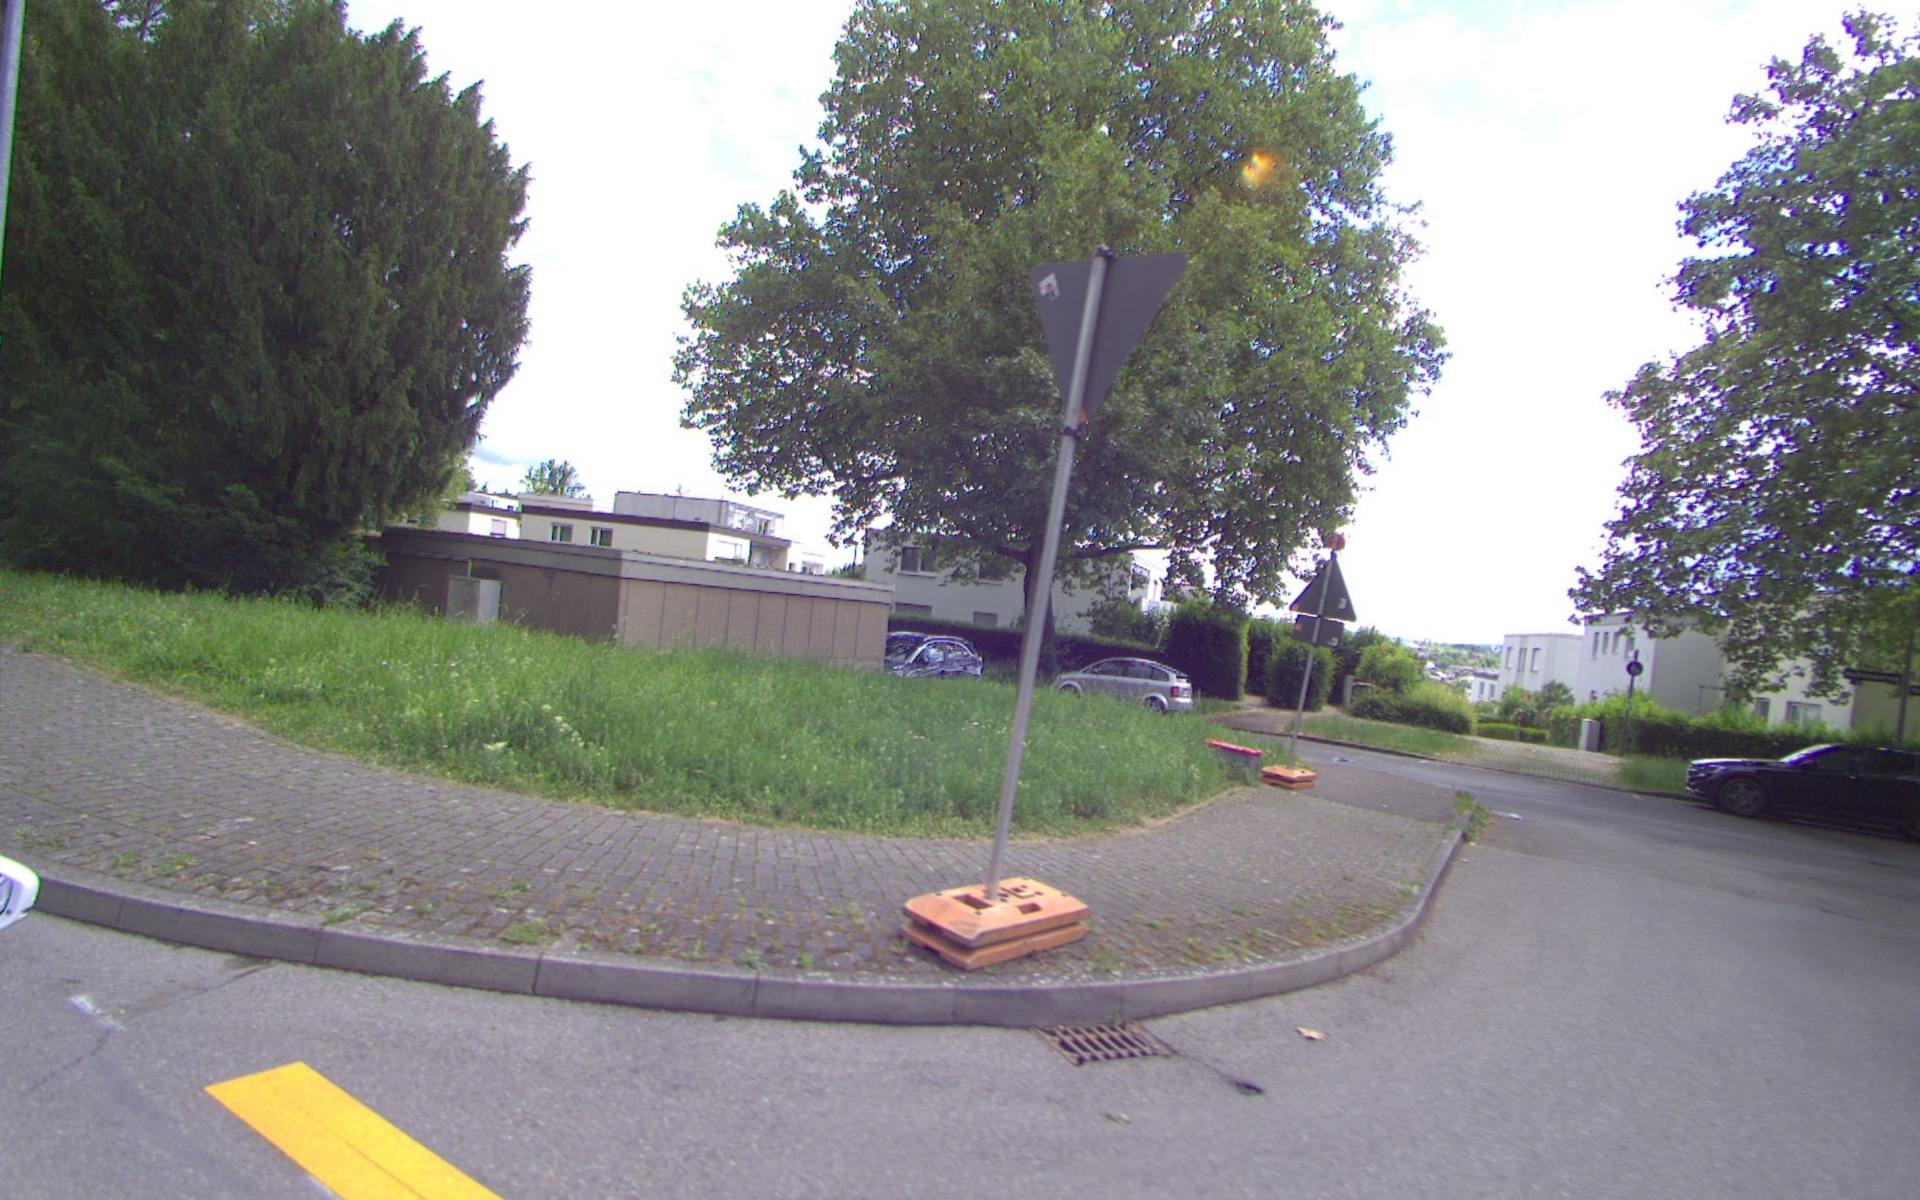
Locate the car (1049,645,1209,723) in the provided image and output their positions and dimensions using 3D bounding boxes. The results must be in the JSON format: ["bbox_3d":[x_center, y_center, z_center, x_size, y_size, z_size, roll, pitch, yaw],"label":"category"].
[{"bbox_3d":[4.506,2.206,26.934,3.686,1.487,1.848,7,1,32],"label":"car"}]

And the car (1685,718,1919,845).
[{"bbox_3d":[16.605,3.444,19.036,4.372,1.638,1.894,7,1,32],"label":"car"}]

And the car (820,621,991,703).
[{"bbox_3d":[-1.036,1.328,20.845,1.780,1.330,3.568,7,-2,30],"label":"car"}]
